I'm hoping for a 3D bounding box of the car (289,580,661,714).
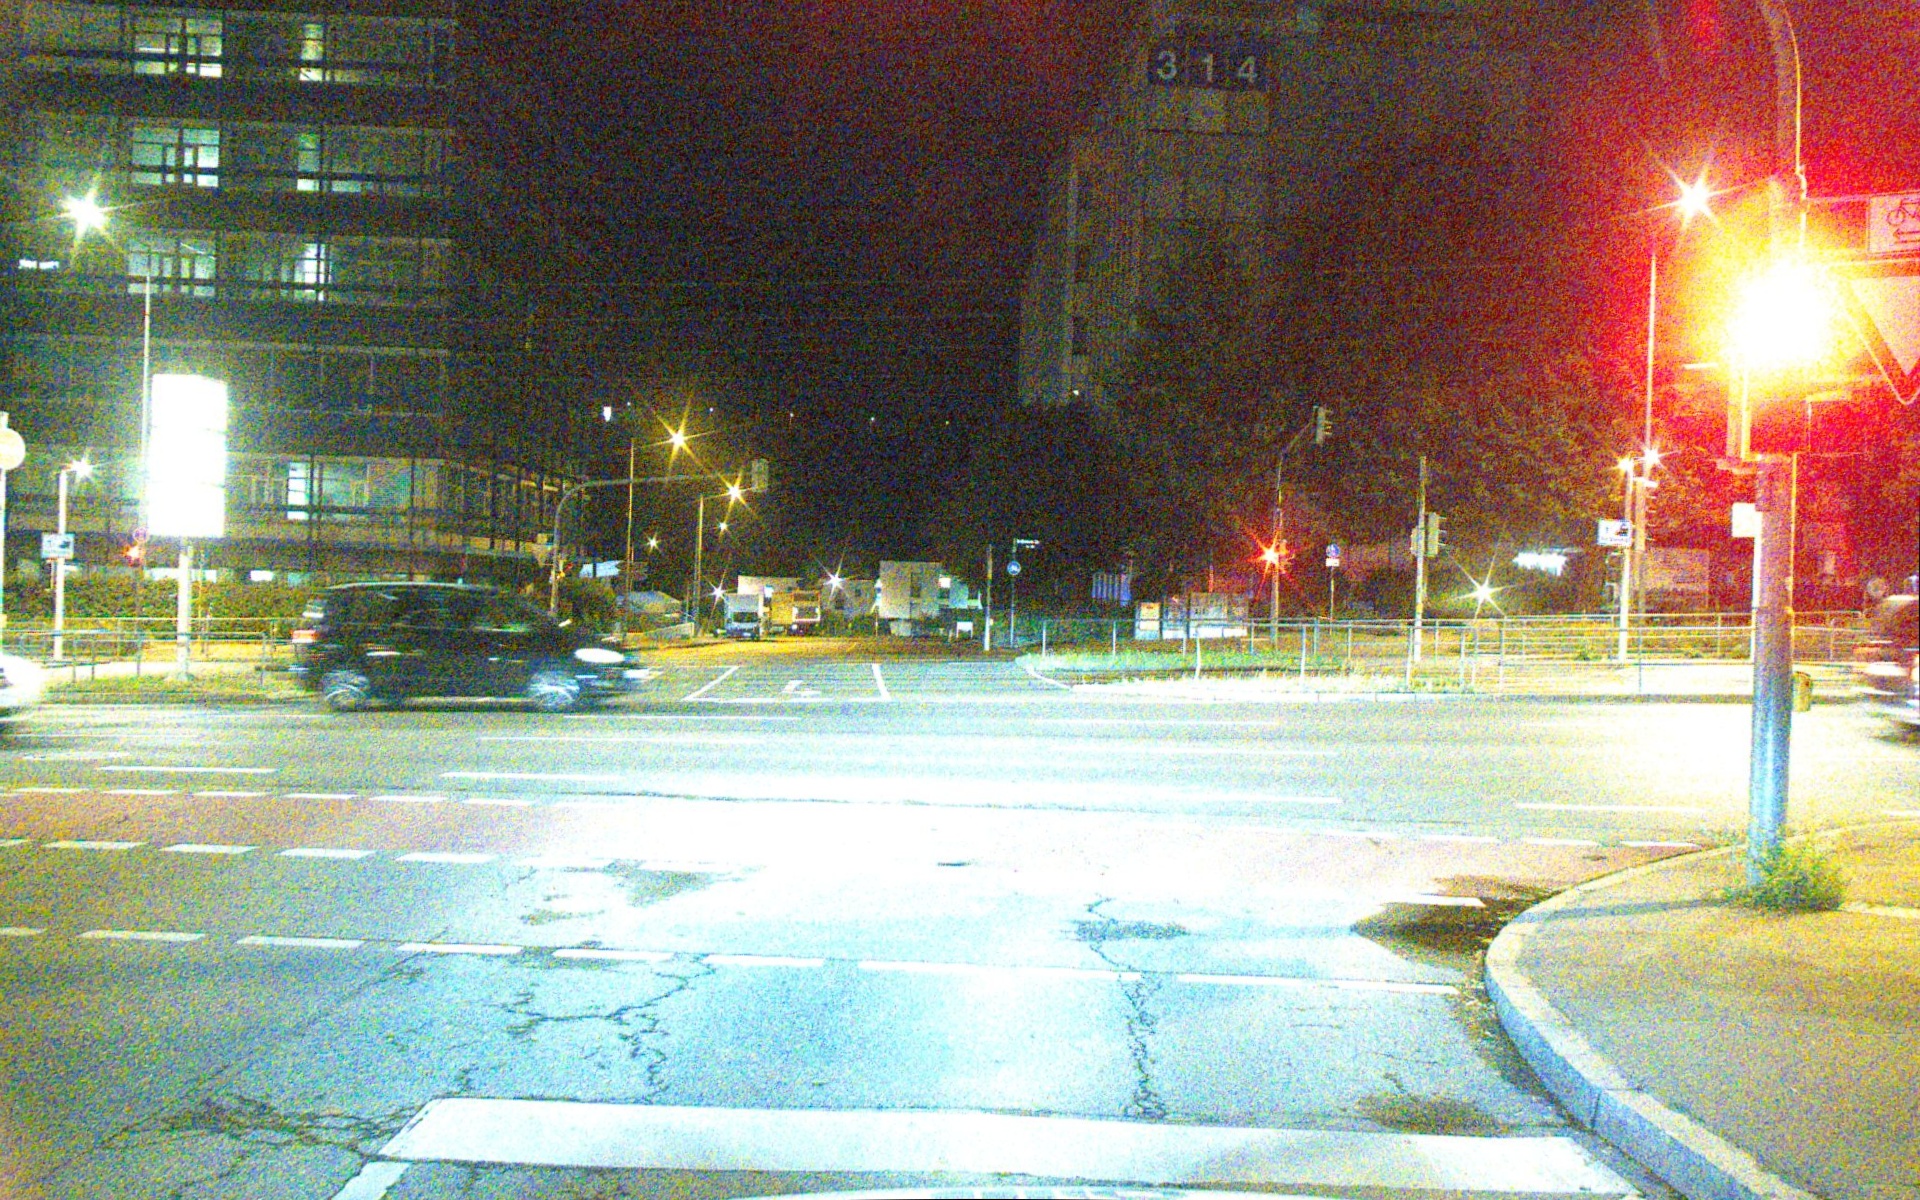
[{"bbox_3d":[-6.353,0.600,21.984,4.353,1.688,1.865,0,0,3],"label":"car"}]

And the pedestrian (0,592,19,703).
[{"bbox_3d":[-14.645,0.704,24.741,0.656,1.663,0.862,1,-1,-5],"label":"pedestrian"}]

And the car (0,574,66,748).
[{"bbox_3d":[-11.273,0.614,16.342,3.903,1.692,1.811,-1,-1,3],"label":"car"}]

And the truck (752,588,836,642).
[{"bbox_3d":[-15.296,1.305,150.972,4.751,4.627,12.593,1,0,-19],"label":"truck"}]

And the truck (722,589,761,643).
[{"bbox_3d":[-15.733,1.139,118.913,2.535,3.772,5.724,1,0,-9],"label":"truck"}]

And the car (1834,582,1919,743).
[{"bbox_3d":[12.426,0.657,18.575,4.252,1.680,1.811,0,2,2],"label":"car"}]
